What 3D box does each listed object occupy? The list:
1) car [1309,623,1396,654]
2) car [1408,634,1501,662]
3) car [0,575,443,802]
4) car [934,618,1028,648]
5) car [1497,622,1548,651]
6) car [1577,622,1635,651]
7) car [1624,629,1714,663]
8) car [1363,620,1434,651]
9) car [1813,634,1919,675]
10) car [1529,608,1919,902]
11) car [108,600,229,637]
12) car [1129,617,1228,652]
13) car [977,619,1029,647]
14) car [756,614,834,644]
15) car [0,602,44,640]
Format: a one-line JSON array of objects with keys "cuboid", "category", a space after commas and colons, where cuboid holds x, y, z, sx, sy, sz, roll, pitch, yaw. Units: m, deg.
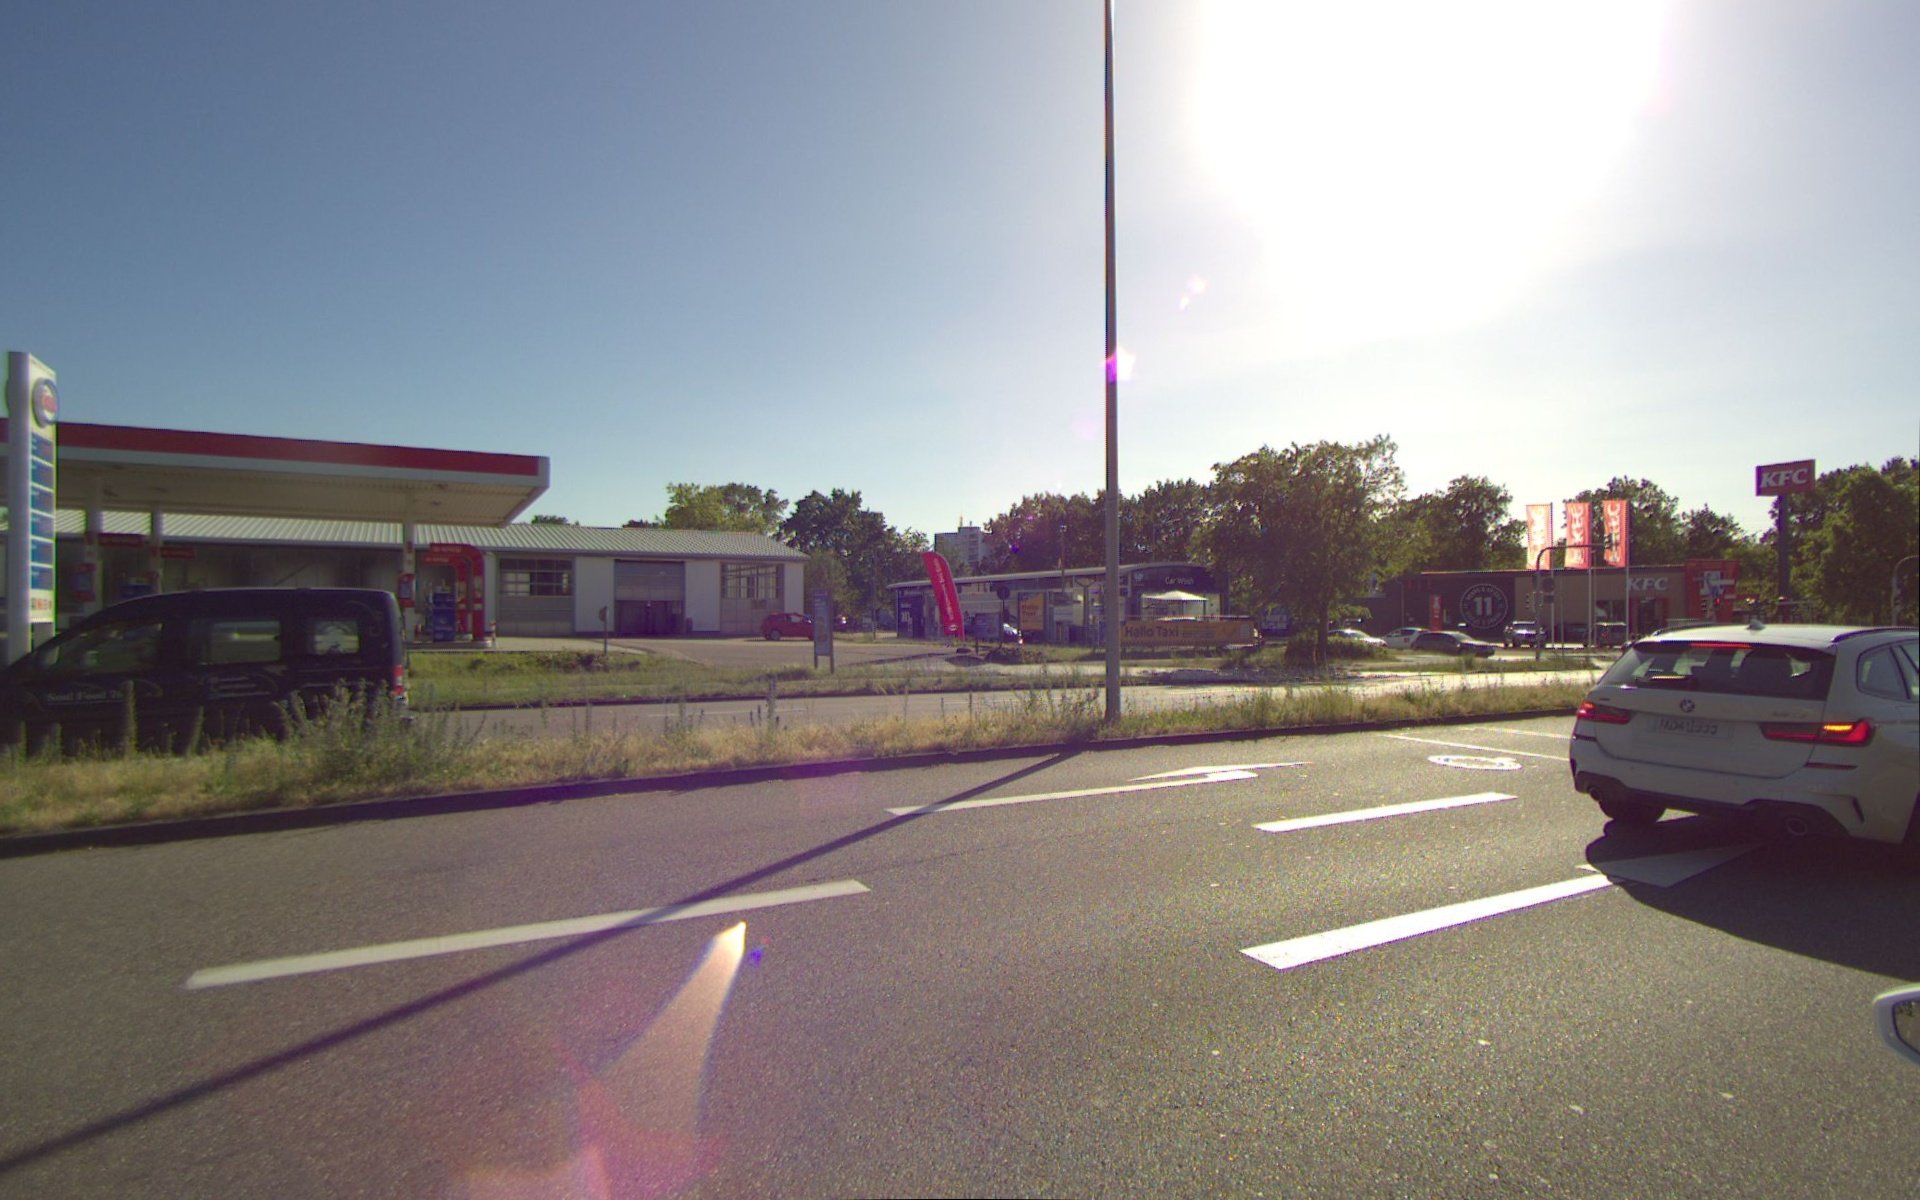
[{"cuboid": [23.276, 2.267, 59.747, 1.914, 1.600, 4.599, 2, 0, -31], "category": "car"}, {"cuboid": [26.273, 2.513, 53.488, 1.850, 1.268, 4.062, 2, 0, -31], "category": "car"}, {"cuboid": [-7.371, 0.748, 9.565, 4.246, 1.872, 1.669, 2, 0, -31], "category": "car"}, {"cuboid": [0.941, 1.474, 46.107, 3.930, 1.193, 1.774, 2, 0, 32], "category": "car"}, {"cuboid": [37.262, 2.380, 66.665, 1.896, 1.763, 4.099, 2, 0, 14], "category": "car"}, {"cuboid": [42.039, 2.347, 65.460, 1.896, 1.763, 4.099, 2, 0, 14], "category": "car"}, {"cuboid": [36.689, 2.356, 51.988, 3.712, 1.579, 1.993, 2, 0, 37], "category": "car"}, {"cuboid": [28.387, 2.278, 65.114, 1.976, 1.837, 3.743, 2, 0, -29], "category": "car"}, {"cuboid": [41.505, 2.446, 45.959, 4.254, 1.749, 1.801, 1, 0, -18], "category": "car"}, {"cuboid": [6.298, 0.879, 7.211, 4.542, 1.506, 1.803, 2, 0, -30], "category": "car"}, {"cuboid": [-34.170, 0.812, 43.488, 3.812, 1.509, 1.984, 2, 0, -30], "category": "car"}, {"cuboid": [9.911, 1.547, 45.625, 3.941, 1.461, 1.990, 2, 0, -21], "category": "car"}, {"cuboid": [2.445, 1.881, 57.717, 1.516, 1.461, 3.123, 2, 0, -31], "category": "car"}, {"cuboid": [-8.975, 1.586, 54.774, 3.948, 1.491, 1.521, 2, 0, -24], "category": "car"}, {"cuboid": [-40.248, 0.801, 40.511, 4.488, 1.486, 1.984, 2, 0, -30], "category": "car"}]
